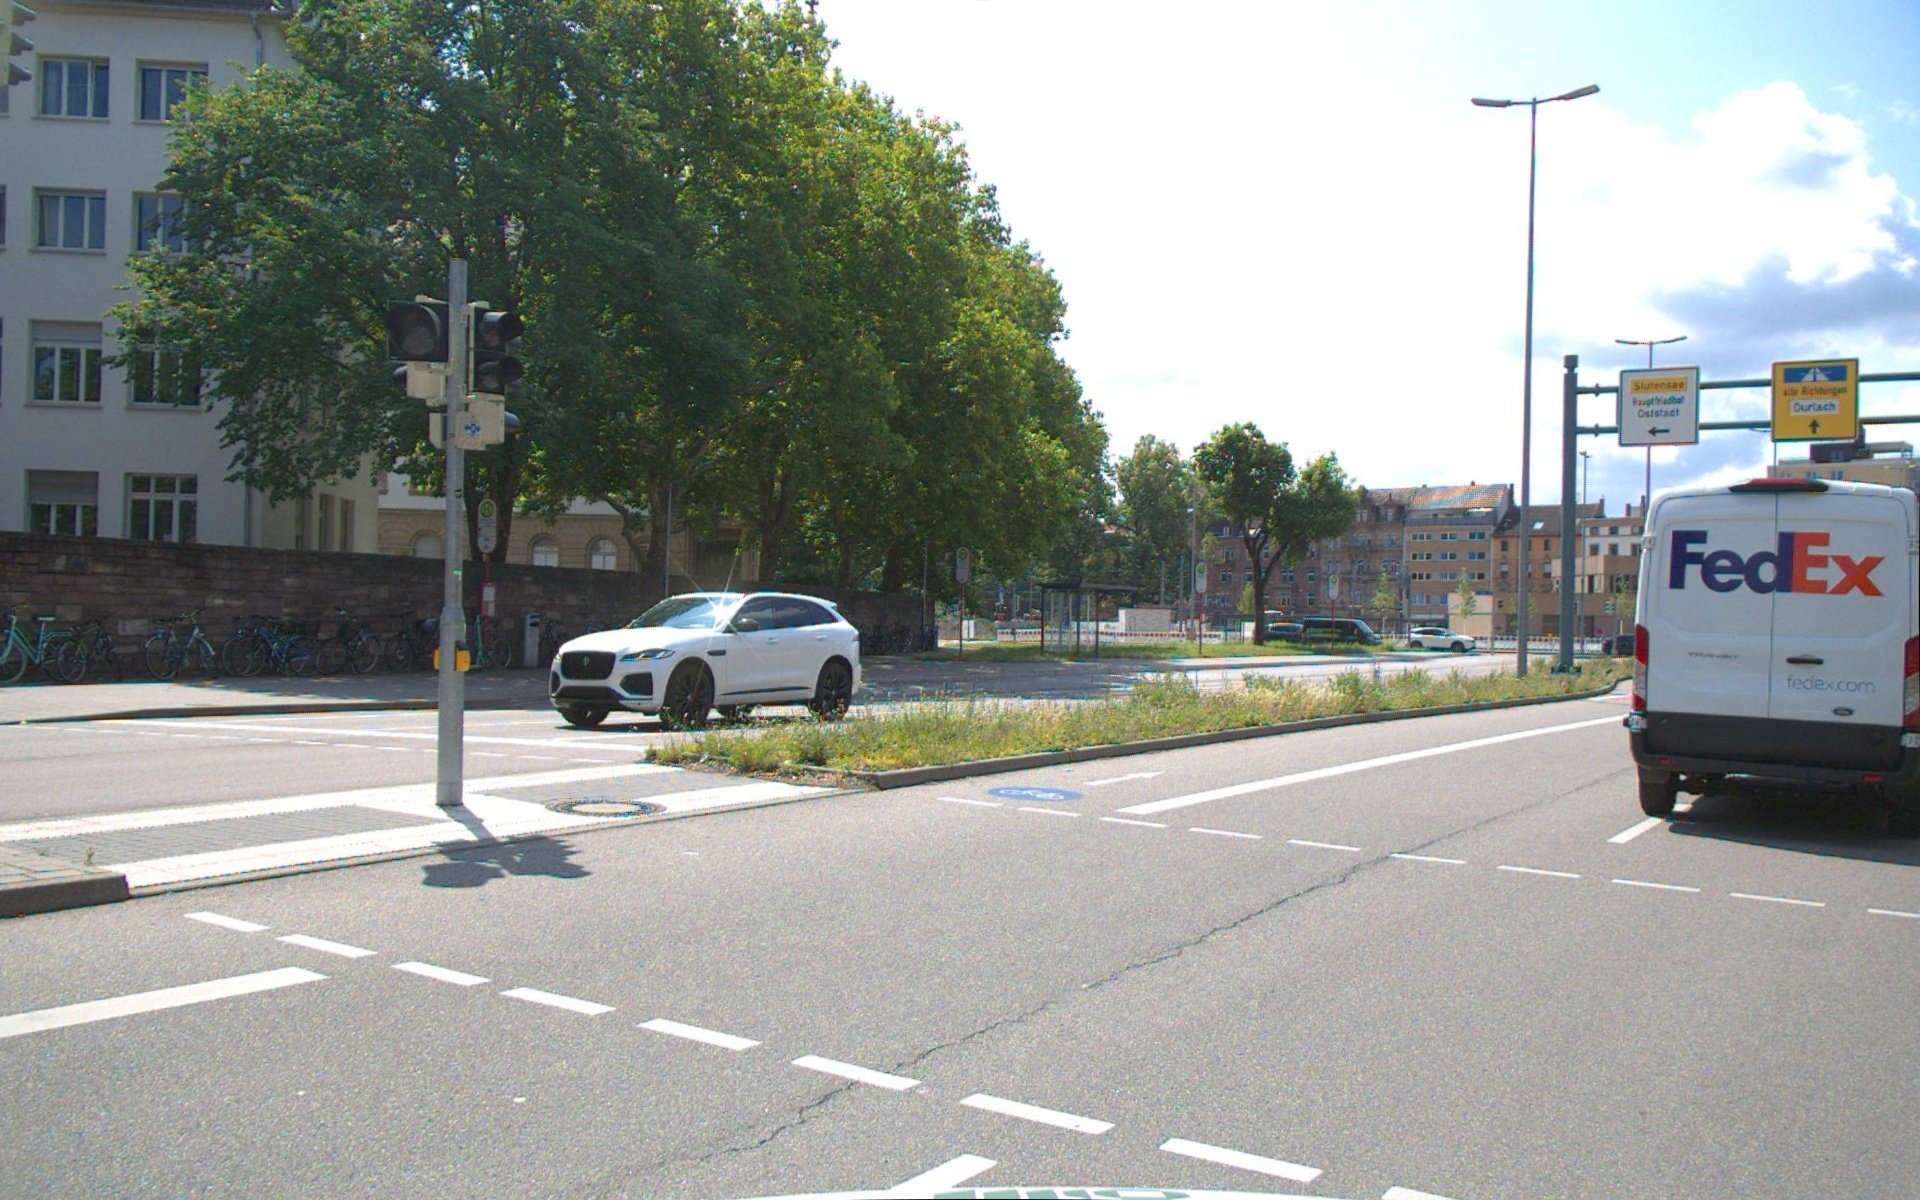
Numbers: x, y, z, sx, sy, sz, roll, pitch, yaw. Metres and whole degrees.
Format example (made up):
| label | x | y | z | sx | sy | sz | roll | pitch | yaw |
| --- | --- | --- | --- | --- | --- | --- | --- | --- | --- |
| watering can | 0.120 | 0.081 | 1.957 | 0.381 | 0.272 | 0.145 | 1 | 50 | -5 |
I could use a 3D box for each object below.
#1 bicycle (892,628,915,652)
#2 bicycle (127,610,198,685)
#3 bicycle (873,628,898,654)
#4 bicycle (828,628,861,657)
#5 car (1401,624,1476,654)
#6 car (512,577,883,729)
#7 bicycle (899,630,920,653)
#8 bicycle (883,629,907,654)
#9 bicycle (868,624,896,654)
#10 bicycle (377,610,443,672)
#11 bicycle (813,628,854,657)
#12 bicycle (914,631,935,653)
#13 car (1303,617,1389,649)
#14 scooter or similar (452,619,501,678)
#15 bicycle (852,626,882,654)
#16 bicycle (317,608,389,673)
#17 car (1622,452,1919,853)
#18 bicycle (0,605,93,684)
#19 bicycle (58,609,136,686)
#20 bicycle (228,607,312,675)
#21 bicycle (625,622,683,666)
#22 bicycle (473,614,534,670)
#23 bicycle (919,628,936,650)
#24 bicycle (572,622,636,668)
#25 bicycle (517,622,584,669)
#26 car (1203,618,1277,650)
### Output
| label | x | y | z | sx | sy | sz | roll | pitch | yaw |
| --- | --- | --- | --- | --- | --- | --- | --- | --- | --- |
| bicycle | -2.199 | 1.558 | 64.632 | 0.532 | 0.918 | 1.667 | 1 | -1 | 11 |
| bicycle | -13.017 | 0.761 | 27.046 | 0.393 | 1.172 | 1.594 | 1 | -1 | -1 |
| bicycle | -2.765 | 1.511 | 61.251 | 0.532 | 0.918 | 1.667 | 1 | -1 | 11 |
| bicycle | -3.837 | 1.405 | 55.198 | 0.532 | 0.918 | 1.666 | 1 | -1 | 16 |
| car | 30.791 | 2.530 | 106.443 | 4.273 | 1.825 | 1.997 | 1 | -1 | 28 |
| car | -3.176 | 0.619 | 21.084 | 2.034 | 1.696 | 4.762 | 0 | -1 | 32 |
| bicycle | -2.028 | 1.656 | 66.413 | 0.442 | 0.918 | 1.796 | 1 | -1 | 11 |
| bicycle | -2.468 | 1.563 | 62.953 | 0.532 | 0.918 | 1.667 | 1 | -1 | 11 |
| bicycle | -2.816 | 1.392 | 59.540 | 0.532 | 1.070 | 1.625 | 1 | -1 | 15 |
| bicycle | -10.825 | 0.795 | 32.601 | 0.521 | 1.172 | 1.595 | 1 | -1 | 10 |
| bicycle | -4.081 | 1.355 | 53.295 | 0.492 | 0.918 | 1.663 | 1 | -1 | 28 |
| bicycle | -1.515 | 1.780 | 69.943 | 0.532 | 0.918 | 1.667 | 1 | -1 | 11 |
| car | 24.301 | 2.057 | 104.063 | 4.914 | 1.912 | 1.925 | 1 | -1 | 29 |
| scooter or similar | -9.819 | 0.970 | 33.619 | 0.422 | 1.172 | 1.194 | 1 | -1 | 11 |
| bicycle | -3.256 | 1.398 | 57.901 | 0.532 | 0.968 | 1.666 | 1 | -1 | 15 |
| bicycle | -11.307 | 0.747 | 30.859 | 0.521 | 1.172 | 1.595 | 1 | -1 | 10 |
| car | 7.162 | 0.389 | 14.028 | 2.100 | 2.699 | 5.693 | 0 | -1 | 30 |
| bicycle | -14.052 | 0.667 | 25.412 | 0.393 | 1.172 | 1.595 | 1 | -1 | 9 |
| bicycle | -13.521 | 0.726 | 25.944 | 0.393 | 1.172 | 1.594 | 1 | -1 | -1 |
| bicycle | -12.236 | 0.713 | 29.373 | 0.393 | 1.172 | 1.594 | 1 | -1 | 20 |
| bicycle | -7.626 | 1.088 | 41.296 | 0.532 | 1.066 | 1.896 | 1 | -1 | 19 |
| bicycle | -9.816 | 0.890 | 35.640 | 0.423 | 1.163 | 1.594 | 1 | -1 | 19 |
| bicycle | -1.399 | 1.677 | 72.032 | 0.532 | 0.918 | 1.666 | 1 | -1 | 6 |
| bicycle | -8.437 | 1.052 | 39.269 | 0.532 | 1.066 | 1.950 | 1 | -1 | 19 |
| bicycle | -9.204 | 1.020 | 37.257 | 0.470 | 1.026 | 1.801 | 1 | -1 | 22 |
| car | 19.043 | 2.315 | 112.476 | 4.539 | 2.049 | 2.097 | 1 | -1 | 28 |
